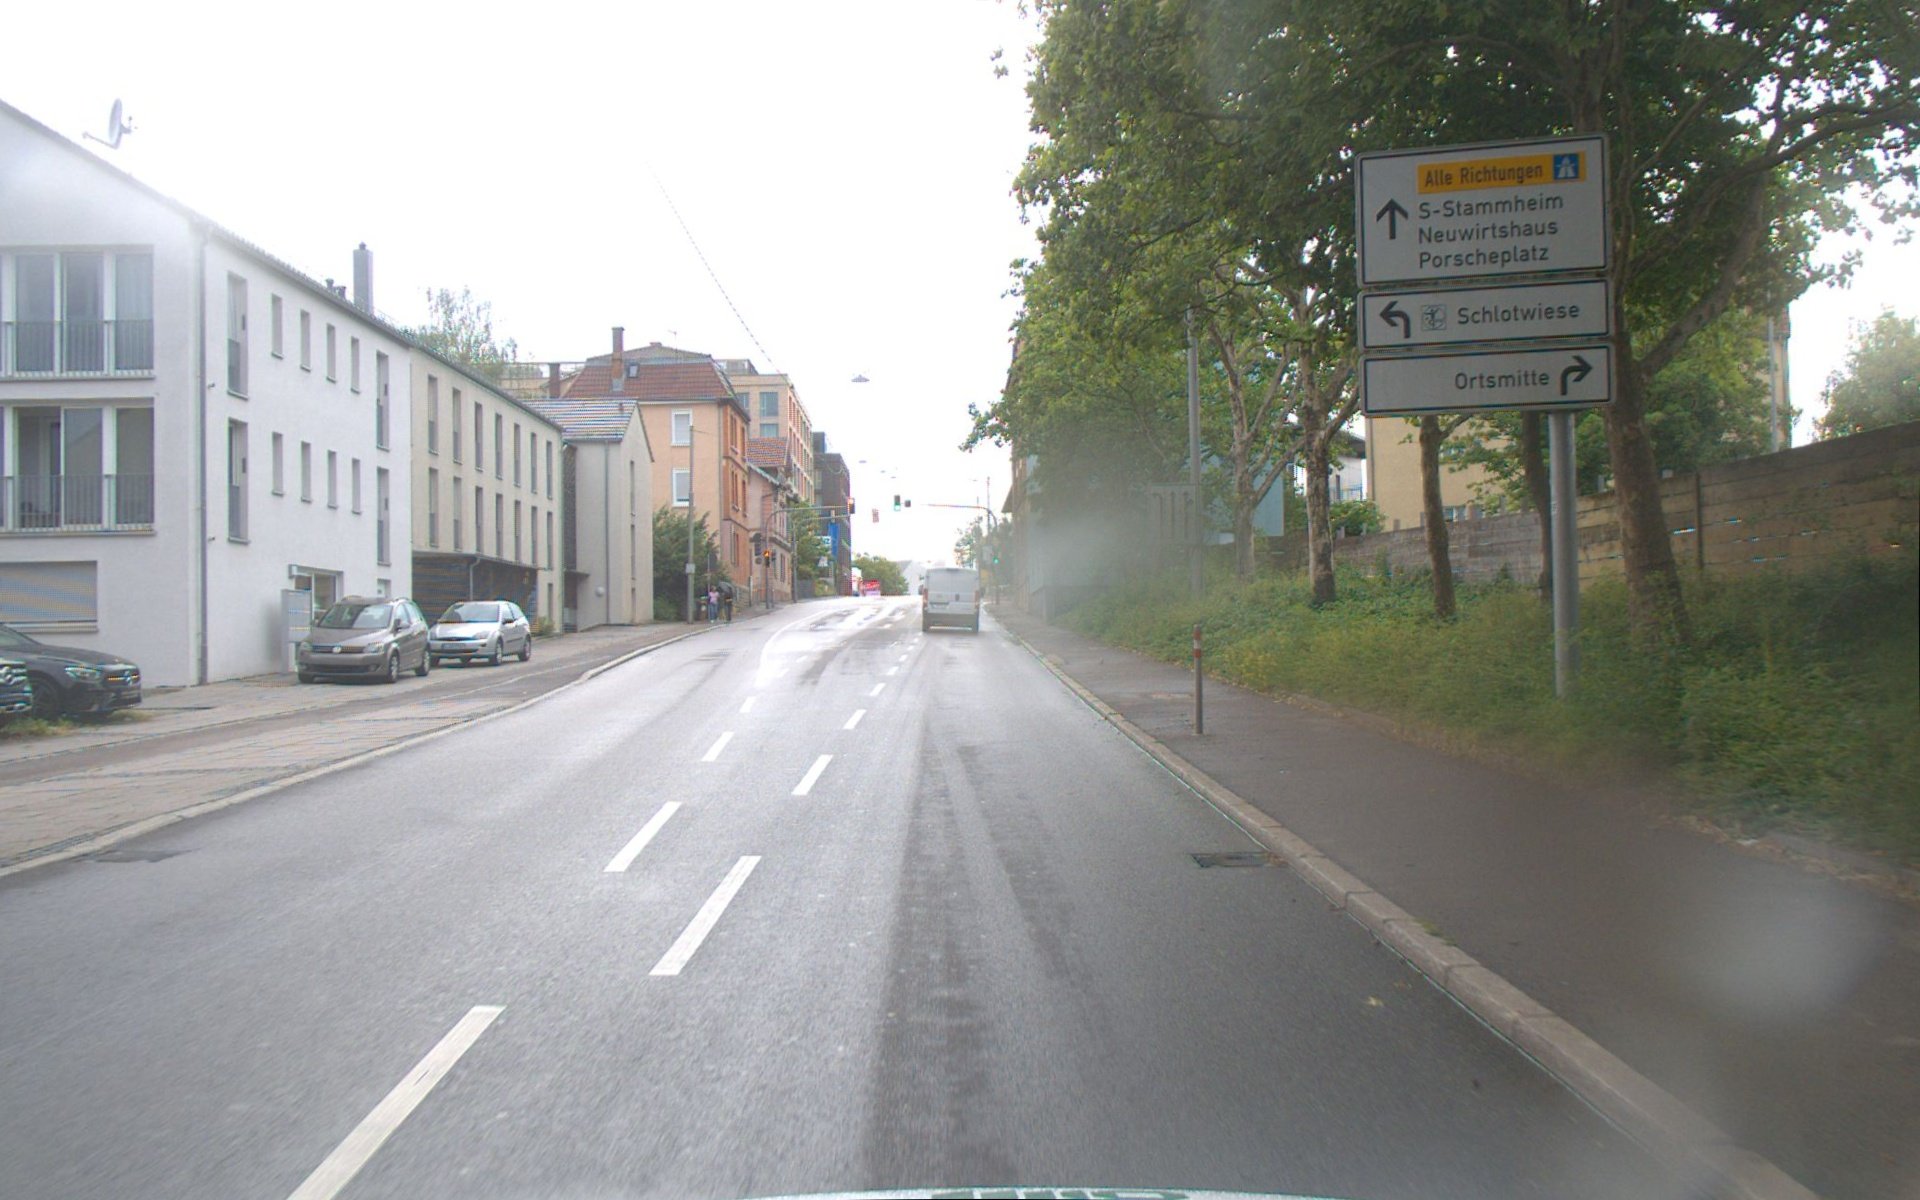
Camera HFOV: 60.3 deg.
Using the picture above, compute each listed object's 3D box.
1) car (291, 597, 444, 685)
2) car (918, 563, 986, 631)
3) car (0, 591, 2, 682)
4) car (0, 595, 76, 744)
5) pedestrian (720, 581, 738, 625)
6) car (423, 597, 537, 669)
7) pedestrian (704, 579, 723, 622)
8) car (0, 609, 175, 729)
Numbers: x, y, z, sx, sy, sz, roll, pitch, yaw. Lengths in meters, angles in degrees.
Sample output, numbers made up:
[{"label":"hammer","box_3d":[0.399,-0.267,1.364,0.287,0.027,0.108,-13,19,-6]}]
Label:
[{"label":"car","box_3d":[-11.454,0.742,32.250,1.634,1.556,4.093,-1,0,-2]},{"label":"car","box_3d":[-0.277,-0.060,58.753,2.288,2.270,3.999,-2,-1,0]},{"label":"car","box_3d":[-6.348,0.674,7.382,1.601,1.508,4.358,1,0,0]},{"label":"car","box_3d":[-13.172,0.851,19.807,4.063,1.727,2.001,-1,0,2]},{"label":"pedestrian","box_3d":[-10.875,0.127,77.926,0.657,2.049,0.942,0,0,3]},{"label":"car","box_3d":[-11.308,0.744,39.215,1.634,1.556,4.093,-1,0,-2]},{"label":"pedestrian","box_3d":[-11.612,0.019,77.935,0.657,2.049,0.942,0,0,3]},{"label":"car","box_3d":[-13.059,0.928,22.359,3.904,1.497,2.001,-1,0,2]}]
